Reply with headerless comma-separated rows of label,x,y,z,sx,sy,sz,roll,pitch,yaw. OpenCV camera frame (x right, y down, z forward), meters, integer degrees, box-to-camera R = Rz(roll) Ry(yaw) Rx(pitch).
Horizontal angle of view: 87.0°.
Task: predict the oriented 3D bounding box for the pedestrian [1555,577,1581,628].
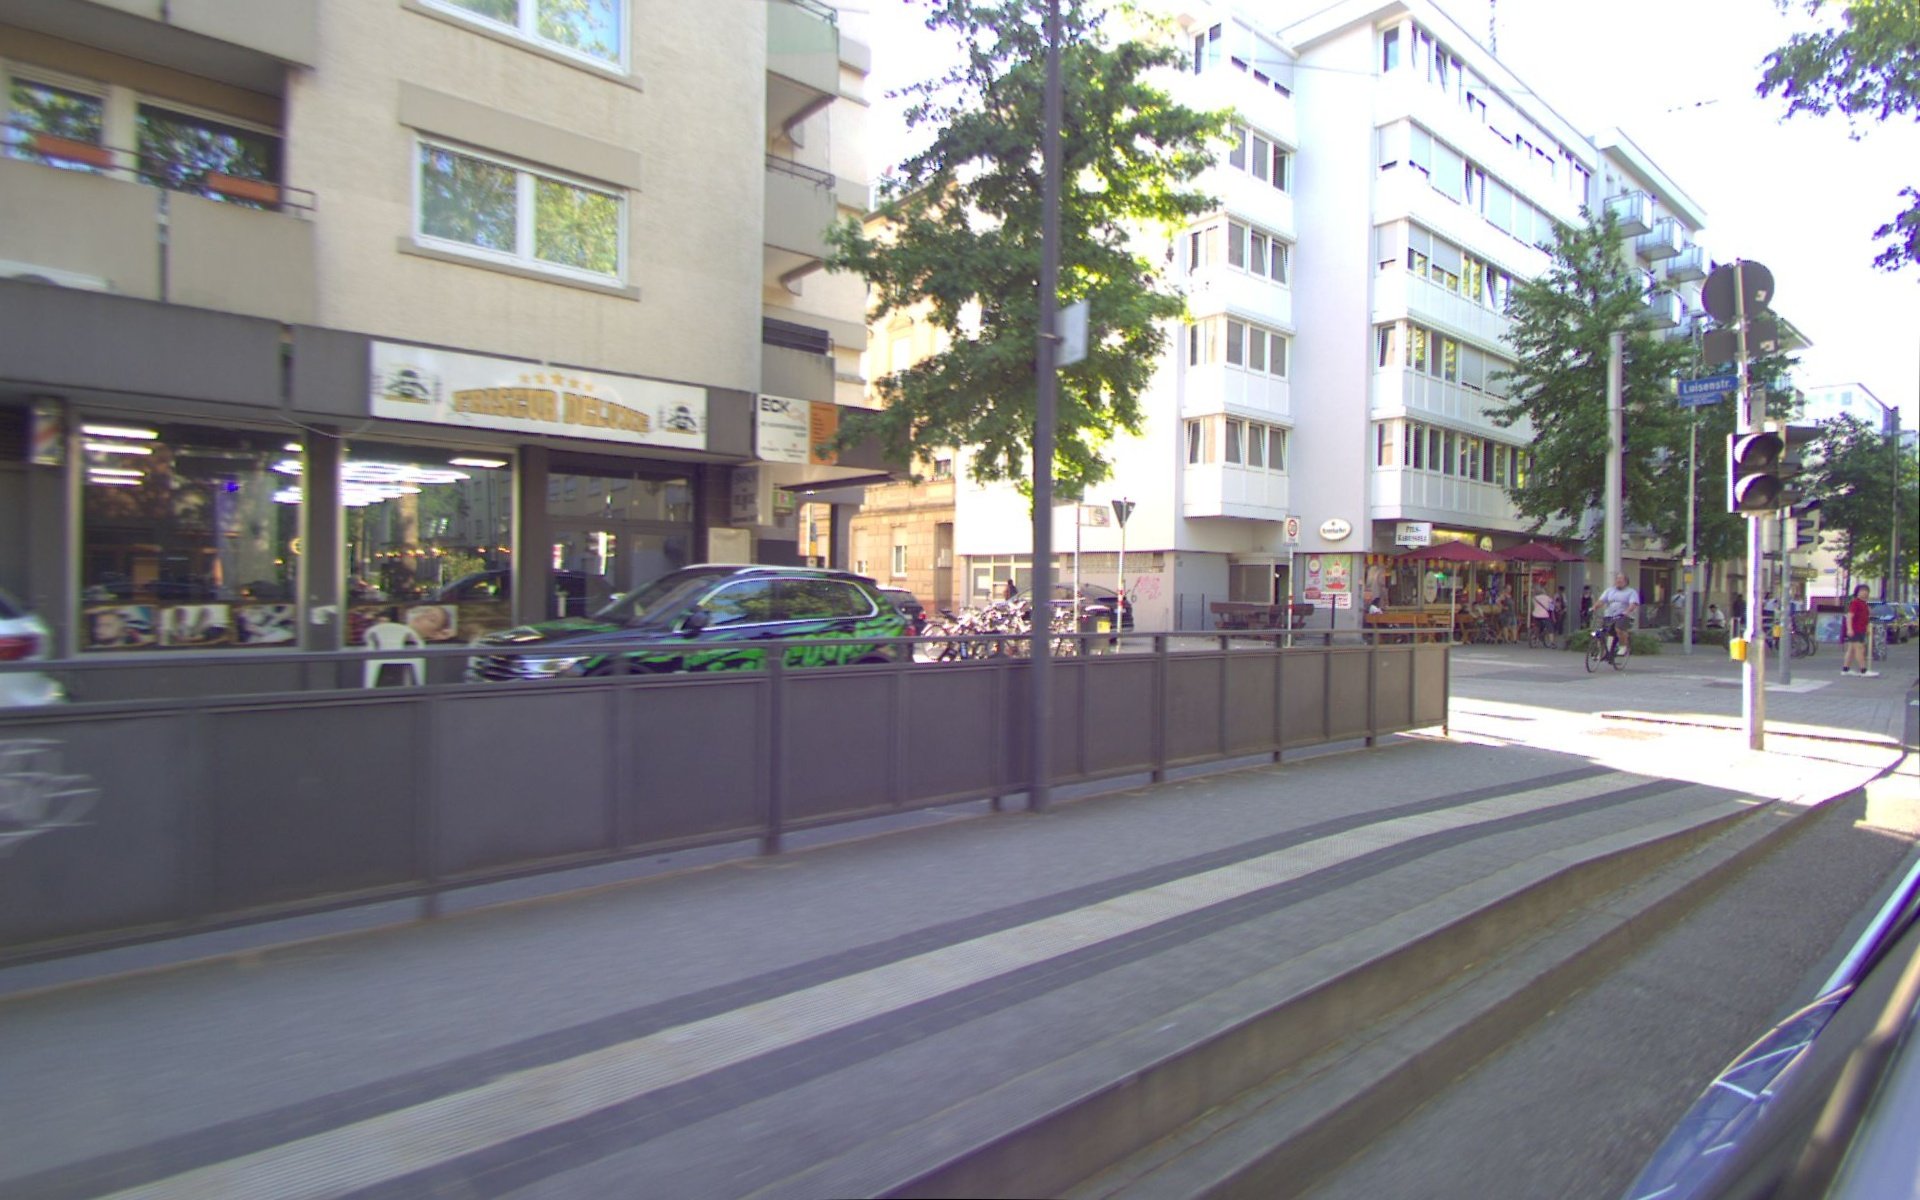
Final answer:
pedestrian,21.789,0.081,36.261,0.620,1.828,0.526,0,0,3

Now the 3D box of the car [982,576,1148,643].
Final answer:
car,2.722,0.192,27.048,1.933,1.612,4.255,-2,2,-41

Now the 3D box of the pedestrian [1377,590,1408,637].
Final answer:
pedestrian,12.197,0.375,28.516,0.703,1.303,0.536,0,0,-39

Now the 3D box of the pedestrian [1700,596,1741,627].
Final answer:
pedestrian,25.859,0.387,34.423,0.649,1.040,1.000,0,0,-39

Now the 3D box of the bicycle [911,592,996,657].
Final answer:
bicycle,-0.146,0.453,19.927,0.502,1.223,1.915,-1,1,-44

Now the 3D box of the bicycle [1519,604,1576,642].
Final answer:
bicycle,16.215,0.613,27.916,1.985,0.975,0.678,-1,0,-39

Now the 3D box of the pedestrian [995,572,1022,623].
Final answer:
pedestrian,1.536,-0.078,31.858,0.633,1.581,0.553,-1,1,-36

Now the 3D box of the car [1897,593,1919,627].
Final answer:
car,46.635,0.482,49.072,2.831,1.556,1.447,0,3,-41

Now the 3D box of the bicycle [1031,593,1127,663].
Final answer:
bicycle,2.245,0.504,19.269,0.502,1.223,1.916,2,0,-44

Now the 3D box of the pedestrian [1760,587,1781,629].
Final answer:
pedestrian,36.230,0.337,45.254,0.530,1.875,0.663,0,0,-41

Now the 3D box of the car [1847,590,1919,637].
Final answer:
car,35.857,0.466,39.098,4.254,1.606,1.763,0,5,-41

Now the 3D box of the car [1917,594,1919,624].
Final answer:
car,53.894,0.523,55.599,4.190,1.590,1.721,-1,4,-45

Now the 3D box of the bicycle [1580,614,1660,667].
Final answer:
bicycle,12.978,0.774,19.886,1.905,0.949,0.790,-1,0,-40

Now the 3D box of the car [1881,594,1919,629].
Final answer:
car,43.760,0.511,46.635,3.825,1.500,1.624,0,3,-44

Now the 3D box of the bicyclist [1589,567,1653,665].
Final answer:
bicyclist,13.008,0.298,19.909,1.079,1.854,0.768,0,0,-40

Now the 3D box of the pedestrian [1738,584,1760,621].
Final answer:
pedestrian,36.699,0.114,47.046,0.919,1.698,0.597,0,3,-43

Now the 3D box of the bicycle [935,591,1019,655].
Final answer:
bicycle,0.323,0.441,20.381,0.502,1.223,1.915,0,0,-44

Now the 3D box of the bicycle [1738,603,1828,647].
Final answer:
bicycle,22.265,0.655,27.395,0.516,1.114,1.818,0,1,-41

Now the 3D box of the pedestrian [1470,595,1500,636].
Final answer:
pedestrian,15.424,0.444,29.744,0.513,1.190,0.659,0,0,-42

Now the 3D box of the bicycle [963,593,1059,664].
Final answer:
bicycle,0.900,0.494,18.370,0.502,1.223,1.915,0,0,-44

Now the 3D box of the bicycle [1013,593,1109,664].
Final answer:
bicycle,1.864,0.501,18.907,0.502,1.223,1.916,1,1,-44

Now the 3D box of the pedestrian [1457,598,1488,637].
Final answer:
pedestrian,14.735,0.490,29.102,0.513,1.092,0.642,0,0,-42

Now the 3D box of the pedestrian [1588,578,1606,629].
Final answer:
pedestrian,22.987,0.121,36.544,0.481,1.819,0.432,0,0,-42

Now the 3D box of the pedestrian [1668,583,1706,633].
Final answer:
pedestrian,26.706,0.296,37.189,0.979,1.806,0.590,0,0,10

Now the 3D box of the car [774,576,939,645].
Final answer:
car,-2.689,0.222,25.407,1.837,1.496,4.596,3,0,-39

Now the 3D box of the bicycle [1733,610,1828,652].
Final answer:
bicycle,20.754,0.767,25.620,0.473,1.007,1.817,0,0,-42

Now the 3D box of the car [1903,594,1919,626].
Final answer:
car,49.635,0.525,51.601,4.056,1.555,1.790,0,3,-41

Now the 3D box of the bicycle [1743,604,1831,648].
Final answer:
bicycle,21.957,0.685,26.892,1.814,1.114,0.474,0,0,42

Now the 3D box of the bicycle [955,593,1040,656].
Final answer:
bicycle,0.751,0.480,20.808,0.502,1.223,1.915,2,-1,-44

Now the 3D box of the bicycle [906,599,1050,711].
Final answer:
bicycle,0.168,0.603,12.123,0.668,1.202,2.134,0,0,-32

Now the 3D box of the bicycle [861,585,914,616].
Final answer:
bicycle,-2.754,0.020,38.233,0.756,1.134,2.386,0,0,-40

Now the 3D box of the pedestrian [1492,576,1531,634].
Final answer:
pedestrian,16.414,0.140,30.141,0.667,1.680,0.814,0,0,-38

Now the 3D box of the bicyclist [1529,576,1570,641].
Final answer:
bicyclist,16.275,0.223,27.940,0.947,1.739,0.678,0,0,-38

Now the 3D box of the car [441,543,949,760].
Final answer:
car,-2.410,0.363,9.840,4.367,1.636,1.997,-1,1,-41

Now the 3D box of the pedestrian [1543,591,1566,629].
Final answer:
pedestrian,20.421,0.332,34.763,0.501,1.292,0.624,0,0,12

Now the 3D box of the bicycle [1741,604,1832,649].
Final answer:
bicycle,21.486,0.682,26.321,1.814,1.114,0.490,0,0,42

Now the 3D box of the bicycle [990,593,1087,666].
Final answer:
bicycle,1.423,0.510,18.582,0.502,1.223,1.916,1,1,-44

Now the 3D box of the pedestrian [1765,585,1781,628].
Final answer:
pedestrian,36.428,0.283,45.354,0.653,1.875,0.476,0,0,-44

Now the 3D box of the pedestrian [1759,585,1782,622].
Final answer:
pedestrian,37.231,0.169,46.471,0.855,1.658,0.643,0,2,-43

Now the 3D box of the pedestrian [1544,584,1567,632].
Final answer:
pedestrian,20.406,0.275,34.684,0.500,1.649,0.516,0,0,12

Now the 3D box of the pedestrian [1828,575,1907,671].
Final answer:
pedestrian,17.495,0.427,19.508,0.863,1.780,1.046,0,0,-42

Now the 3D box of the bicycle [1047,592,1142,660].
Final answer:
bicycle,2.598,0.477,19.676,0.502,1.223,1.916,2,0,-44

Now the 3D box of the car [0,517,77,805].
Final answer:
car,-7.417,0.357,5.170,4.337,1.626,1.803,-1,0,-41

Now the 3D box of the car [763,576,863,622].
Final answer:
car,-5.411,-0.086,36.864,1.928,1.575,3.999,0,2,-37
